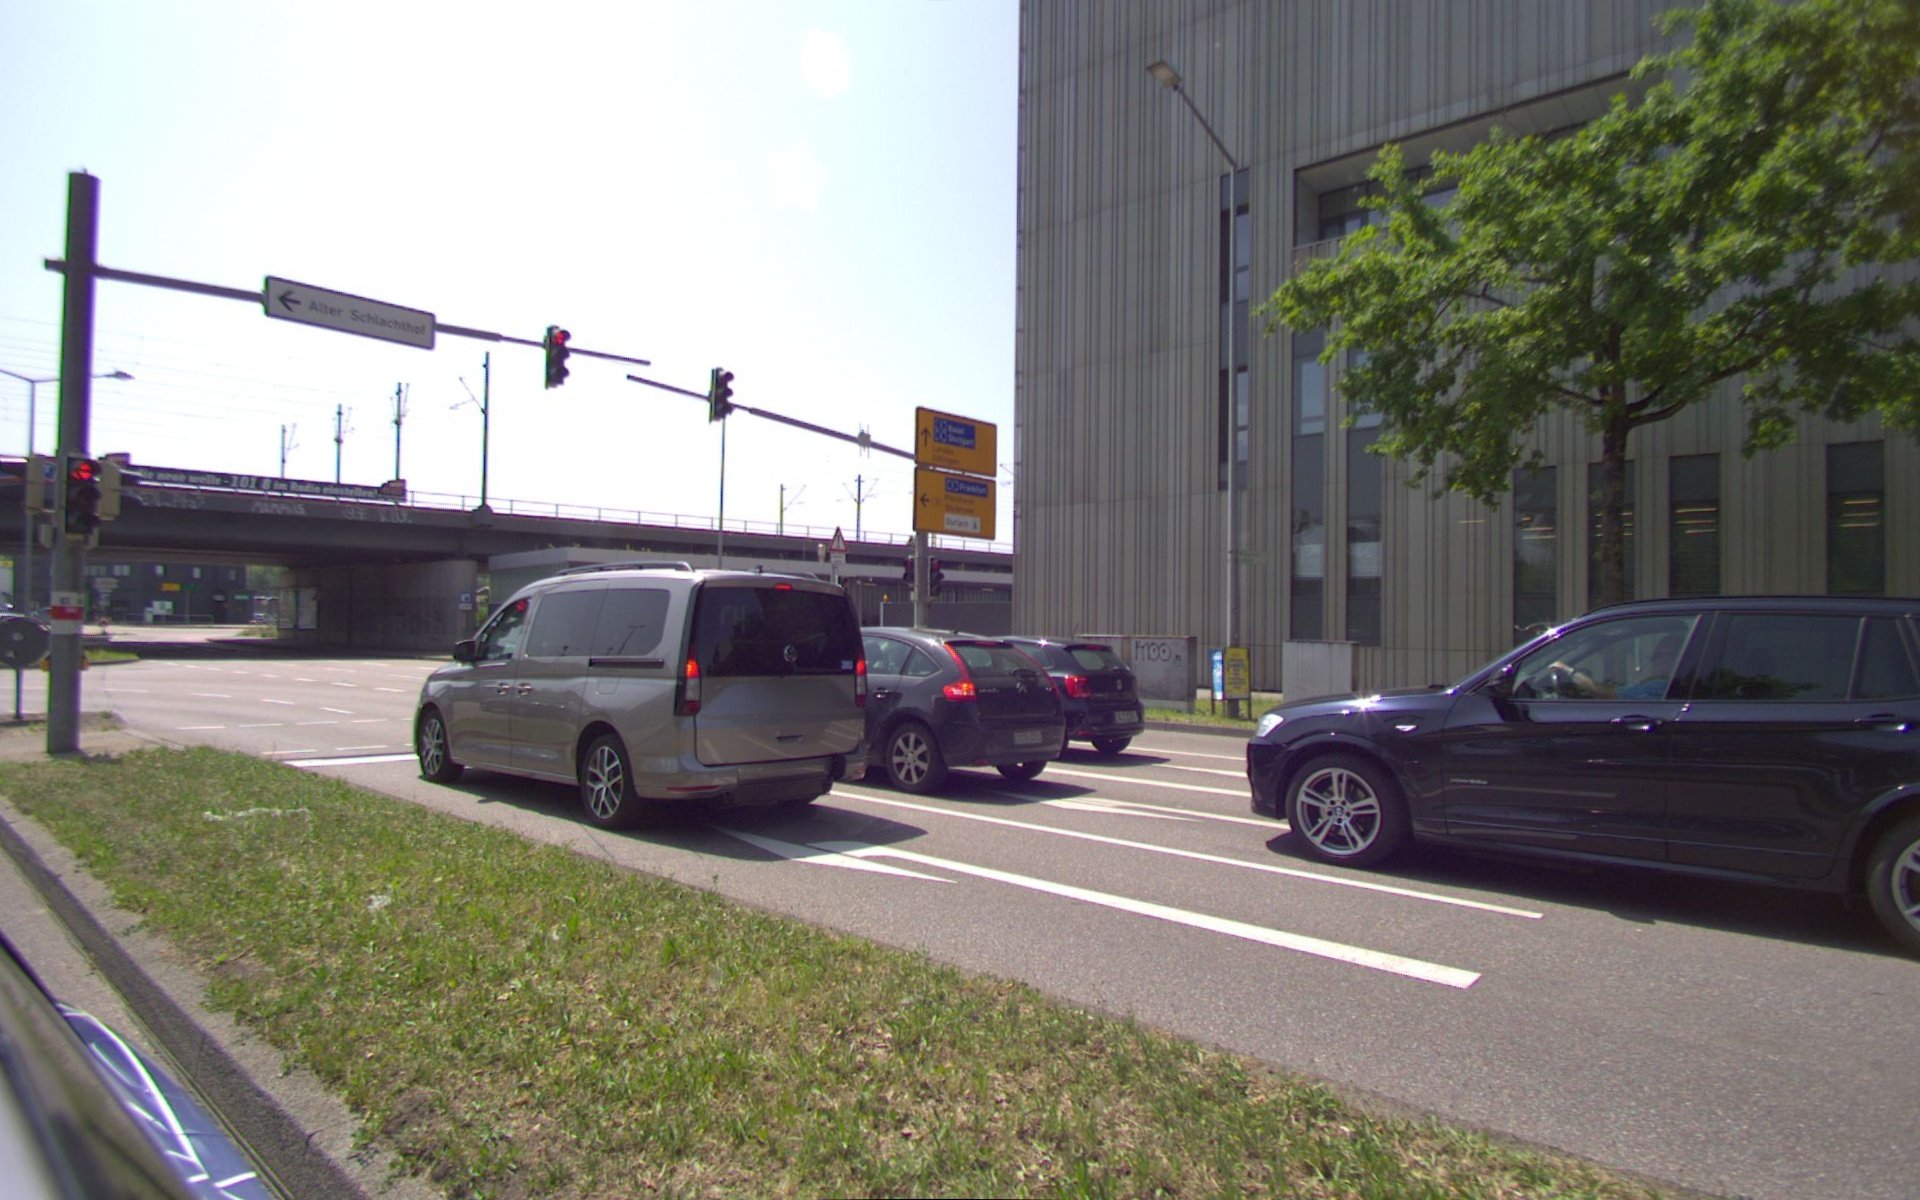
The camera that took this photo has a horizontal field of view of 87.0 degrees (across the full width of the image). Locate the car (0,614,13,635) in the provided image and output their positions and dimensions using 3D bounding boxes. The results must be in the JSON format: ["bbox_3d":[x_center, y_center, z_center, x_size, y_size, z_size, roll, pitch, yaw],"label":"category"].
[{"bbox_3d":[-72.747,1.861,76.365,1.685,1.556,3.378,2,-3,-41],"label":"car"}]

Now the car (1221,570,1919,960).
[{"bbox_3d":[3.978,0.763,5.735,4.573,1.676,1.782,-1,-3,43],"label":"car"}]

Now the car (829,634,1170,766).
[{"bbox_3d":[0.410,1.183,13.235,4.246,1.428,1.792,-1,-3,39],"label":"car"}]

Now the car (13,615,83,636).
[{"bbox_3d":[-74.826,2.091,83.118,3.932,1.697,2.006,1,-2,-32],"label":"car"}]

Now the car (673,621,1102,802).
[{"bbox_3d":[-0.864,0.967,10.202,4.246,1.457,1.792,-1,-3,39],"label":"car"}]

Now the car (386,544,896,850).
[{"bbox_3d":[-2.825,0.664,8.273,4.712,1.815,1.791,-2,-4,42],"label":"car"}]

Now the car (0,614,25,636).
[{"bbox_3d":[-62.637,1.632,66.312,3.372,1.461,1.688,-1,-2,42],"label":"car"}]
